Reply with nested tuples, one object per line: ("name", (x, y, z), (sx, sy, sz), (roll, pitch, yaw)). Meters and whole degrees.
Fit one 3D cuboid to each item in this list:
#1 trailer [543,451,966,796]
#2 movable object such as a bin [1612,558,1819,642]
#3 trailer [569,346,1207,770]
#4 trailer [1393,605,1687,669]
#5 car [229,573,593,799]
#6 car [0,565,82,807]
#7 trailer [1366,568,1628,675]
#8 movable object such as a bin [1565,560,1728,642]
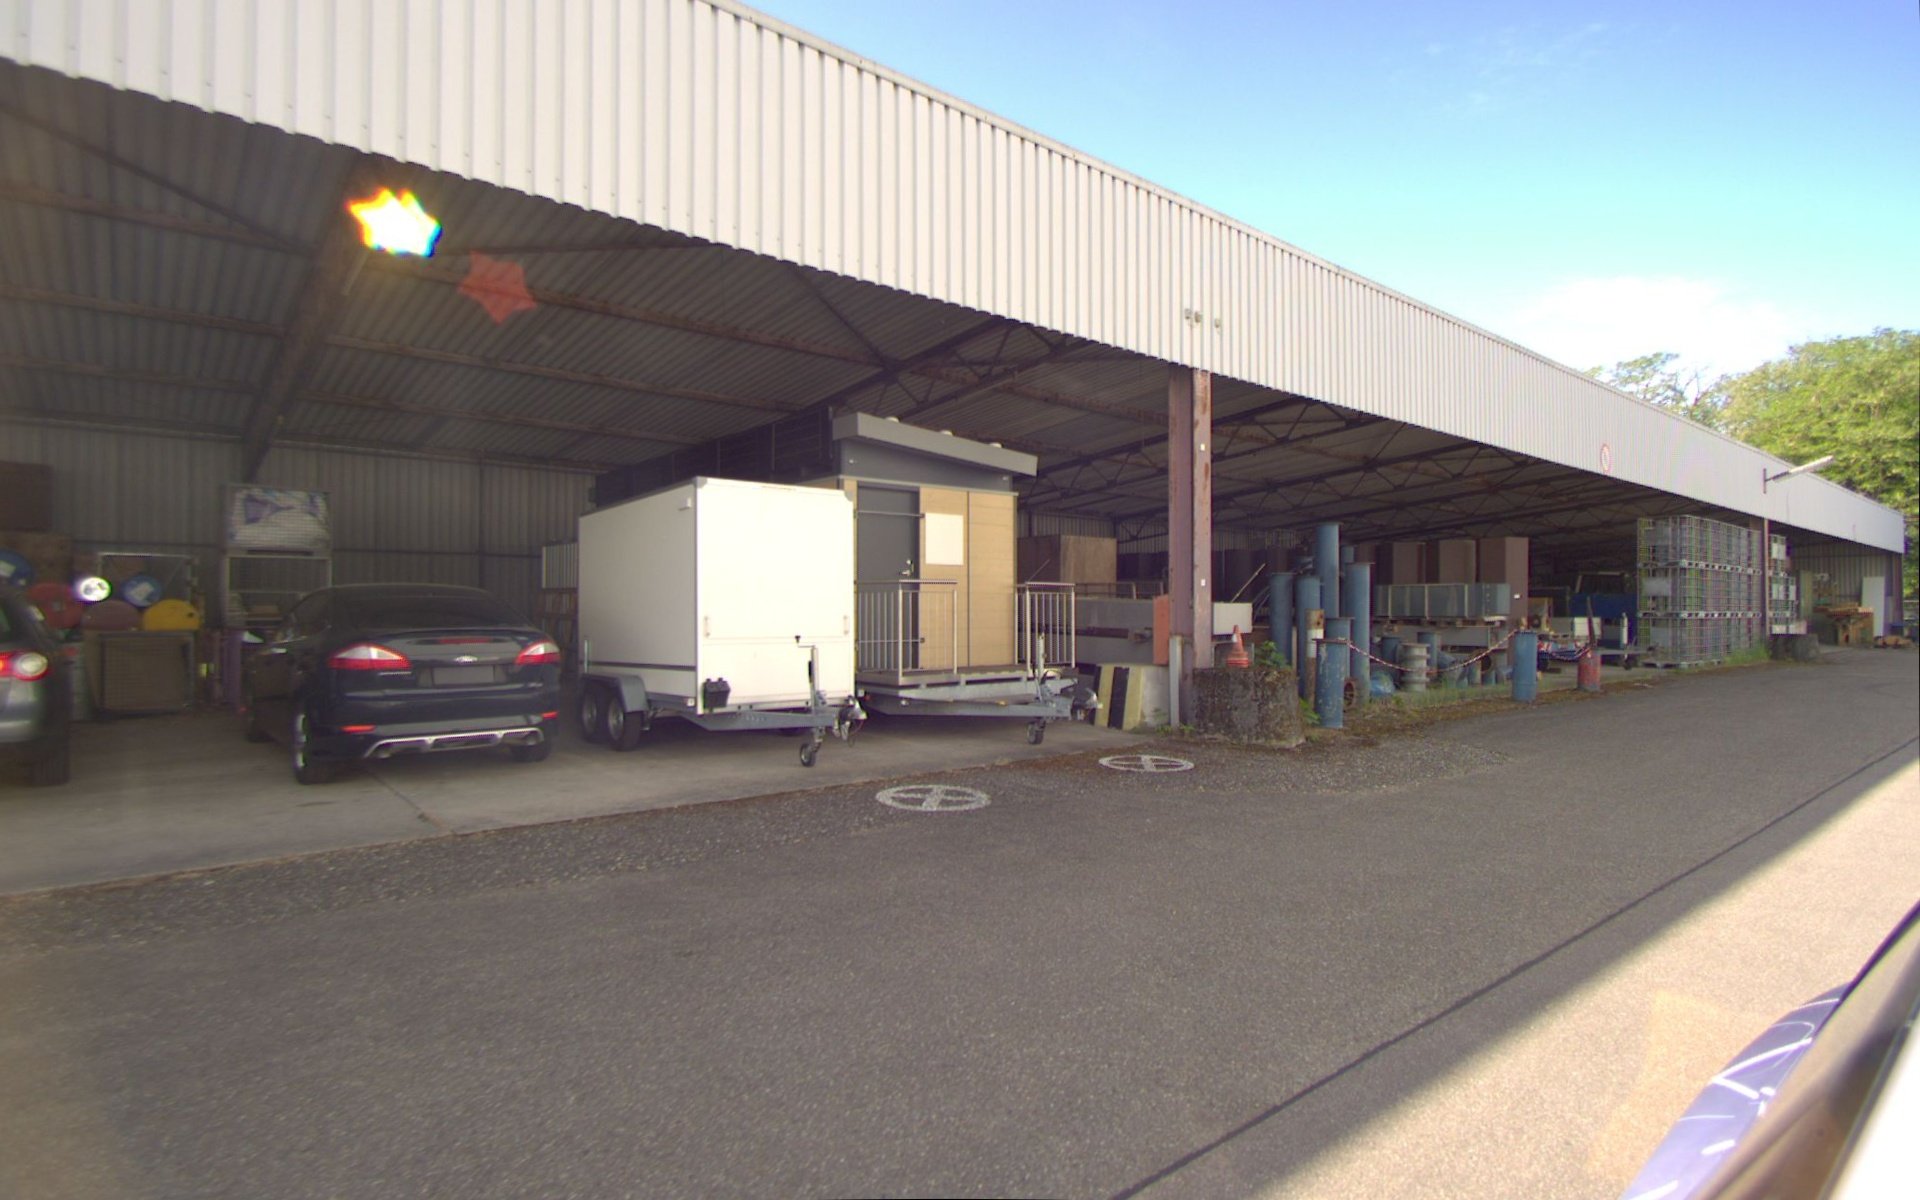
("trailer", (-2.141, 0.119, 9.375), (2.010, 2.371, 4.527), (0, 1, -39))
("movable object such as a bin", (28.773, 0.010, 38.735), (2.769, 2.962, 5.847), (1, 0, -39))
("trailer", (-1.905, -0.414, 12.970), (2.751, 3.385, 10.291), (1, 0, -39))
("trailer", (13.467, 0.794, 23.892), (1.940, 1.200, 5.738), (0, 1, -41))
("car", (-4.990, 0.567, 8.884), (1.838, 1.490, 4.253), (1, 0, -42))
("car", (-7.780, 0.544, 7.511), (1.809, 1.533, 3.968), (0, 0, -43))
("trailer", (11.240, 0.360, 21.444), (2.123, 2.015, 4.434), (0, 1, -38))
("movable object such as a bin", (25.473, 0.037, 37.687), (2.452, 2.867, 4.536), (1, -1, -39))
